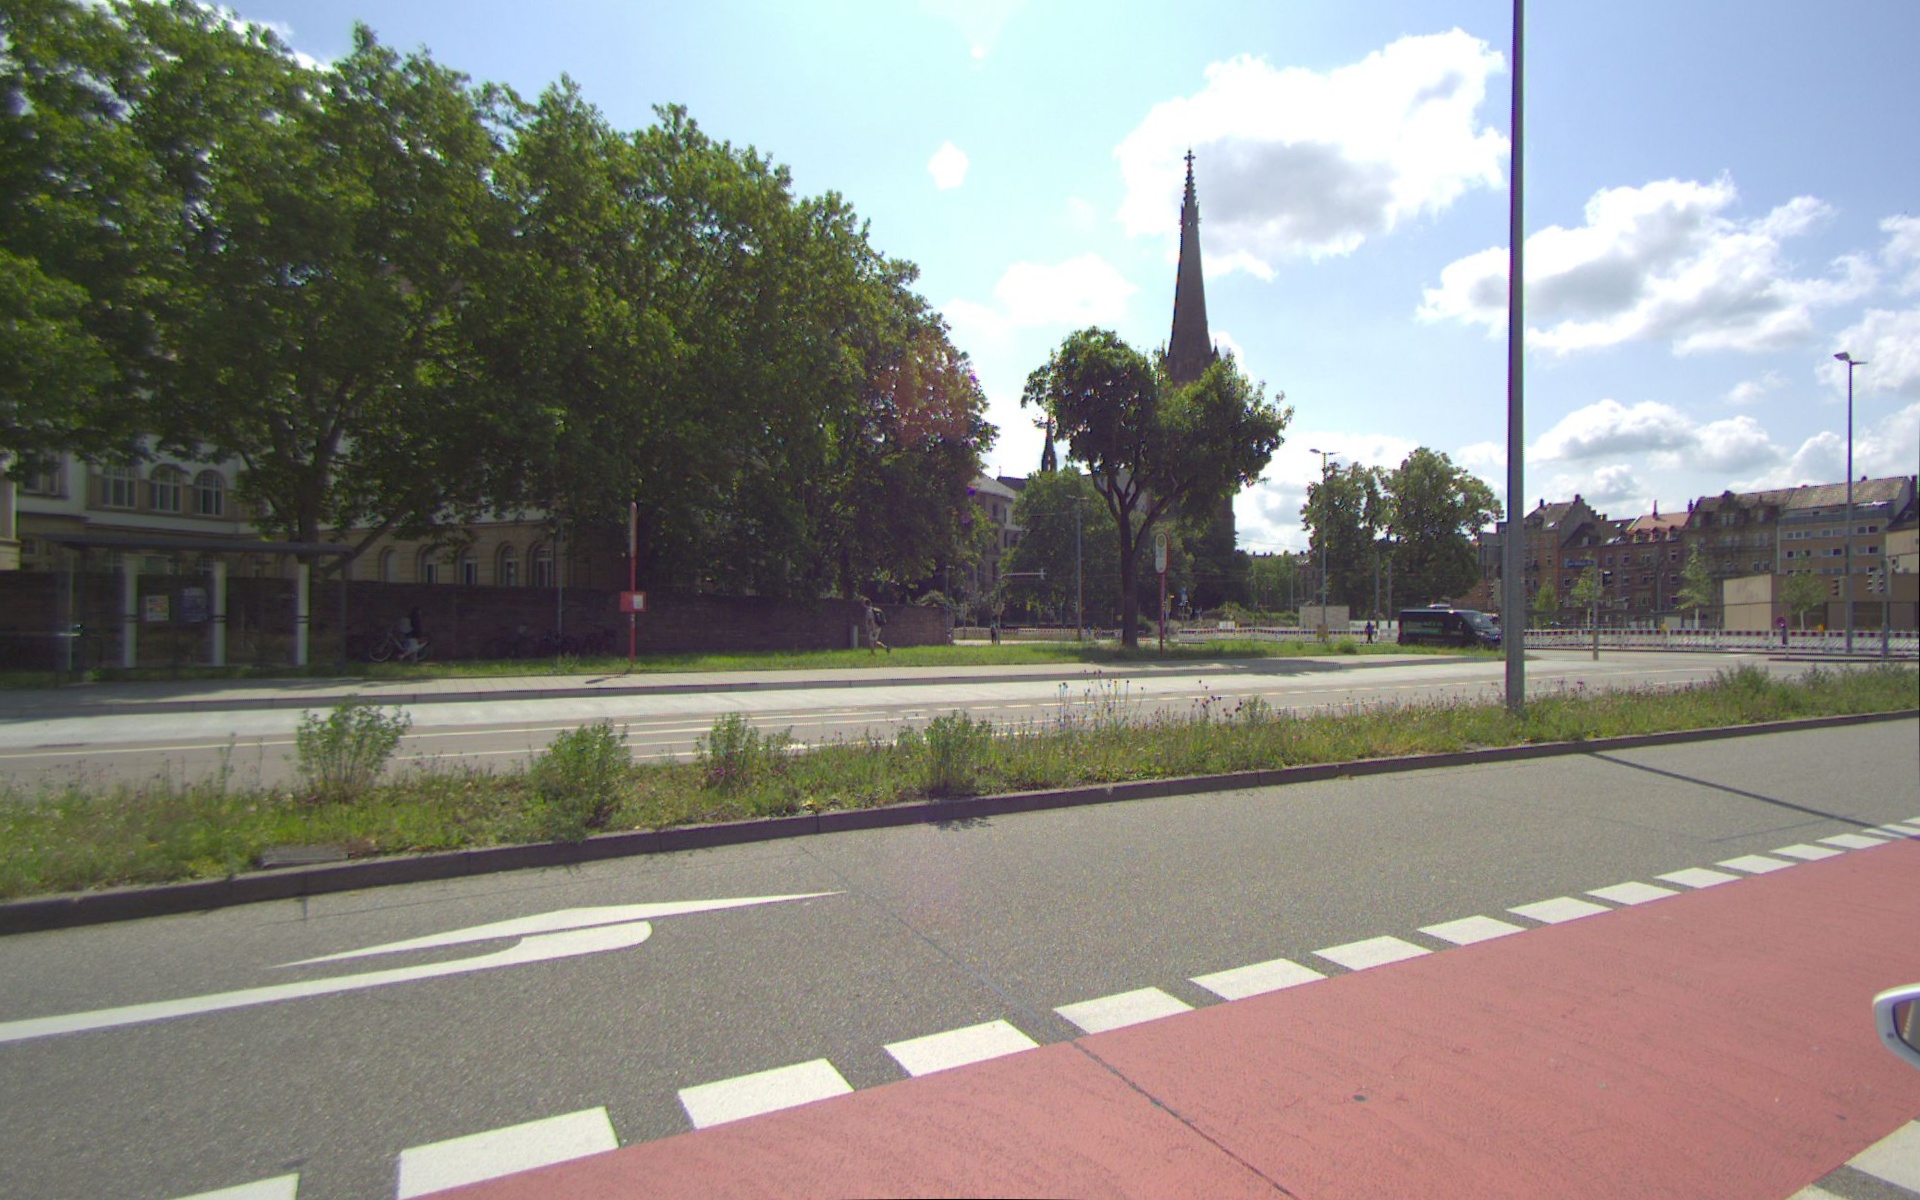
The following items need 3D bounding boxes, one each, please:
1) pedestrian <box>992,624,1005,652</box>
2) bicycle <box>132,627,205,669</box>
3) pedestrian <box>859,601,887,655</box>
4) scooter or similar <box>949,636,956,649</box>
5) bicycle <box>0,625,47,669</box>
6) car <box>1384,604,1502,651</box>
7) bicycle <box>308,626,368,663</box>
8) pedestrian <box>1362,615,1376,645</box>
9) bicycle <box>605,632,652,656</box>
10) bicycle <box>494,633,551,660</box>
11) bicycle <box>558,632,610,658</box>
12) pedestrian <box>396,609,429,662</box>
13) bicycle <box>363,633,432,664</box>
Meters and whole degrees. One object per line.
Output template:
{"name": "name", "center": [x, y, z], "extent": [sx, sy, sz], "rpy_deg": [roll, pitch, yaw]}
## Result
{"name": "pedestrian", "center": [2.858, 2.834, 74.696], "extent": [0.713, 2.040, 0.721], "rpy_deg": [1, -1, -32]}
{"name": "bicycle", "center": [-19.407, 1.165, 24.648], "extent": [0.260, 0.977, 1.391], "rpy_deg": [0, -1, 36]}
{"name": "pedestrian", "center": [-2.420, 0.779, 28.000], "extent": [0.627, 1.492, 0.506], "rpy_deg": [1, -1, -32]}
{"name": "scooter or similar", "center": [-0.426, 2.483, 58.985], "extent": [0.117, 0.721, 1.005], "rpy_deg": [0, -1, 17]}
{"name": "bicycle", "center": [-21.246, 1.047, 22.328], "extent": [0.260, 0.977, 1.391], "rpy_deg": [0, -1, 36]}
{"name": "car", "center": [24.131, 1.351, 50.337], "extent": [2.132, 2.204, 4.973], "rpy_deg": [1, -1, -33]}
{"name": "bicycle", "center": [-17.149, 1.222, 27.719], "extent": [0.260, 0.977, 1.391], "rpy_deg": [0, -1, 36]}
{"name": "pedestrian", "center": [27.584, 2.024, 67.773], "extent": [0.625, 2.040, 0.643], "rpy_deg": [1, -1, -32]}
{"name": "bicycle", "center": [-11.765, 1.548, 35.684], "extent": [0.324, 0.828, 1.743], "rpy_deg": [0, -1, 36]}
{"name": "bicycle", "center": [-14.009, 1.469, 32.201], "extent": [0.378, 0.828, 1.743], "rpy_deg": [0, -1, 36]}
{"name": "bicycle", "center": [-12.769, 1.517, 34.157], "extent": [0.324, 0.828, 1.743], "rpy_deg": [0, -1, 36]}
{"name": "pedestrian", "center": [-15.055, 0.972, 27.609], "extent": [0.720, 1.413, 0.714], "rpy_deg": [1, -1, -35]}
{"name": "bicycle", "center": [-16.229, 1.387, 29.015], "extent": [0.324, 0.828, 1.743], "rpy_deg": [0, -1, 36]}
